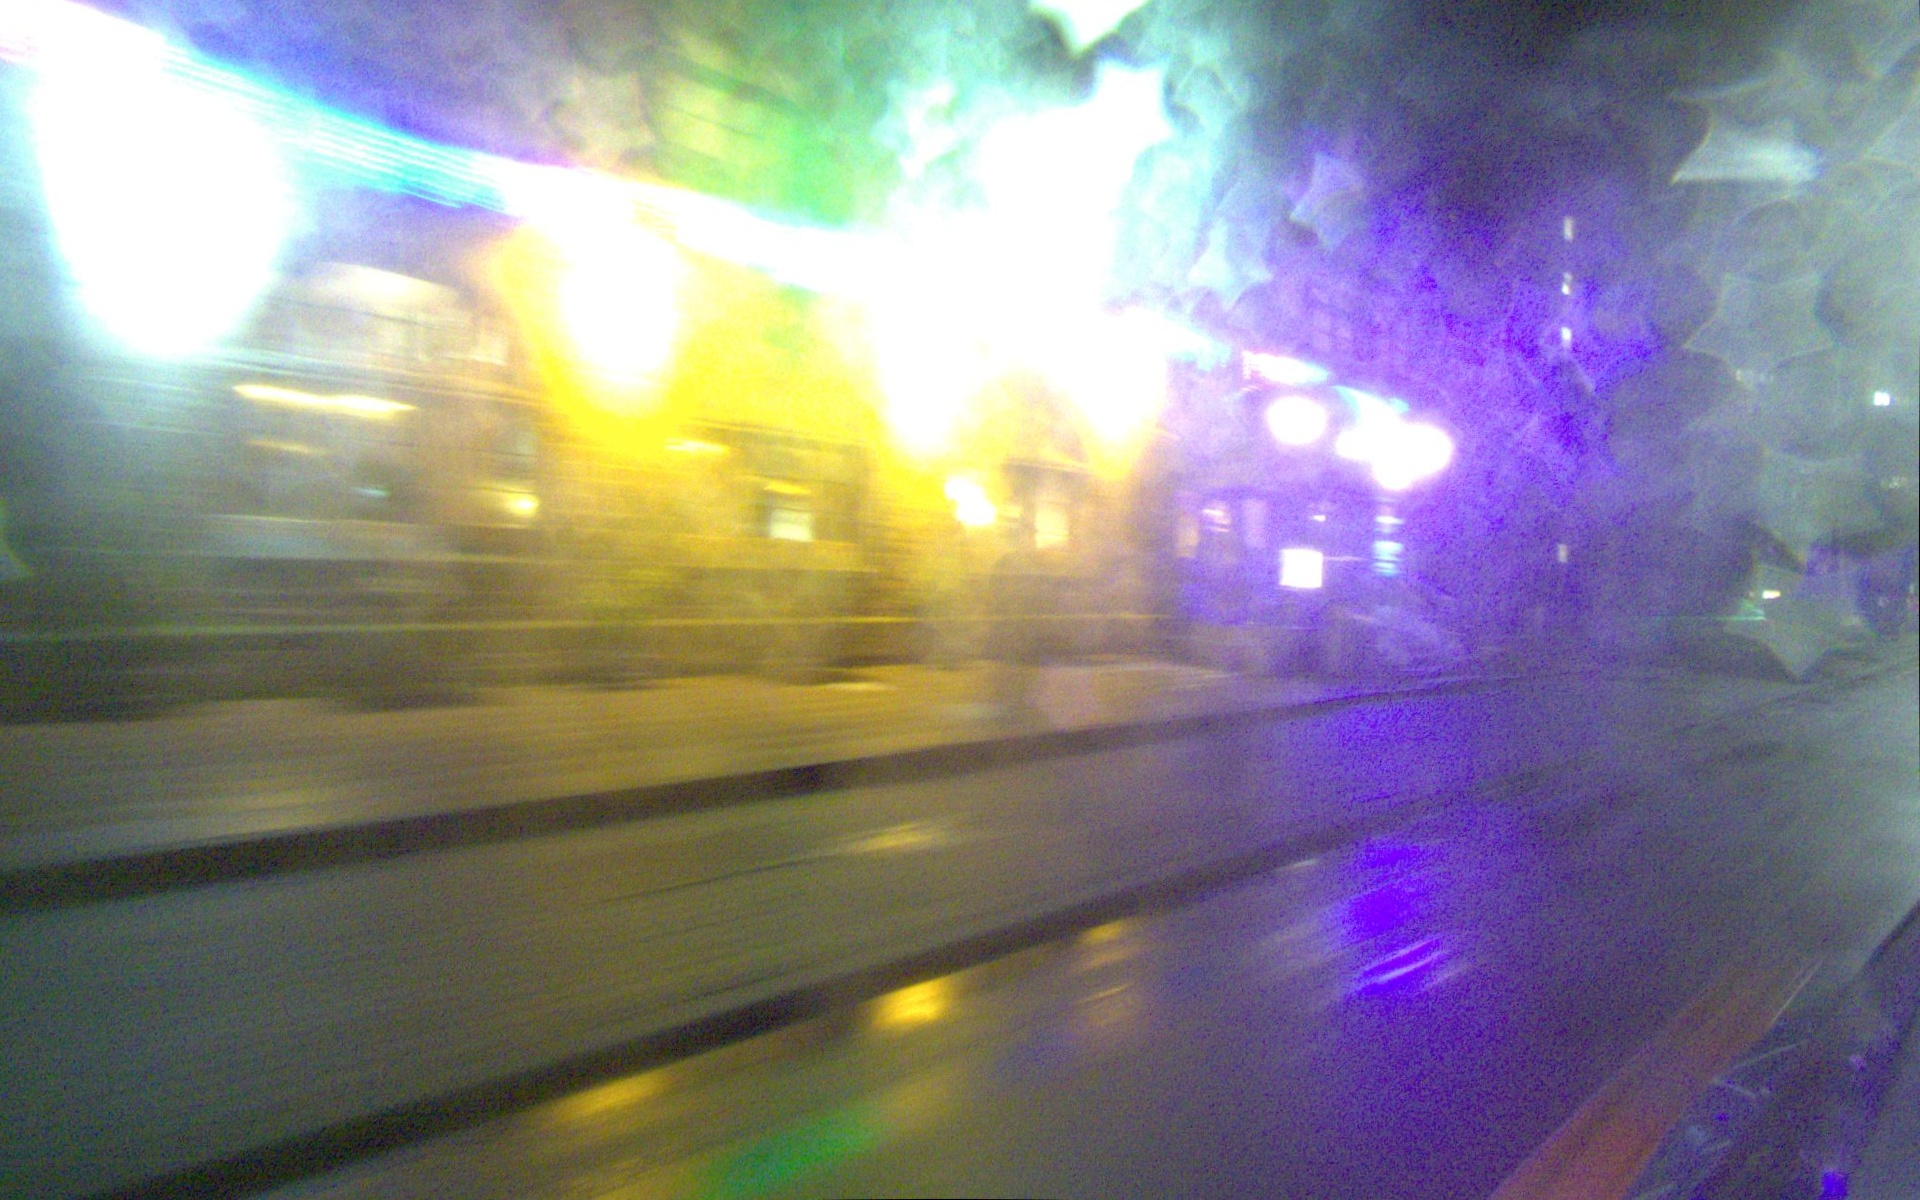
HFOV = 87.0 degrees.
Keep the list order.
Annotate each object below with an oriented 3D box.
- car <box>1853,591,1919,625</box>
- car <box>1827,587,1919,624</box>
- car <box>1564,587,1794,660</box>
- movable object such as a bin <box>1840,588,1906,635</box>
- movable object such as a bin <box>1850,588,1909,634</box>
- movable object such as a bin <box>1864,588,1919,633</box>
[{"bbox_3d":[45.157,0.422,47.468,4.562,1.493,1.820,2,2,30],"label":"car"},{"bbox_3d":[42.437,0.240,46.511,3.677,1.536,1.640,2,2,32],"label":"car"},{"bbox_3d":[16.707,0.489,23.795,4.062,1.556,1.944,0,1,25],"label":"car"},{"bbox_3d":[29.832,0.372,33.072,1.052,1.440,1.373,0,3,-35],"label":"movable object such as a bin"},{"bbox_3d":[30.680,0.353,33.765,1.080,1.440,1.212,0,3,-35],"label":"movable object such as a bin"},{"bbox_3d":[31.642,0.334,34.355,1.322,1.425,1.141,3,3,44],"label":"movable object such as a bin"}]
